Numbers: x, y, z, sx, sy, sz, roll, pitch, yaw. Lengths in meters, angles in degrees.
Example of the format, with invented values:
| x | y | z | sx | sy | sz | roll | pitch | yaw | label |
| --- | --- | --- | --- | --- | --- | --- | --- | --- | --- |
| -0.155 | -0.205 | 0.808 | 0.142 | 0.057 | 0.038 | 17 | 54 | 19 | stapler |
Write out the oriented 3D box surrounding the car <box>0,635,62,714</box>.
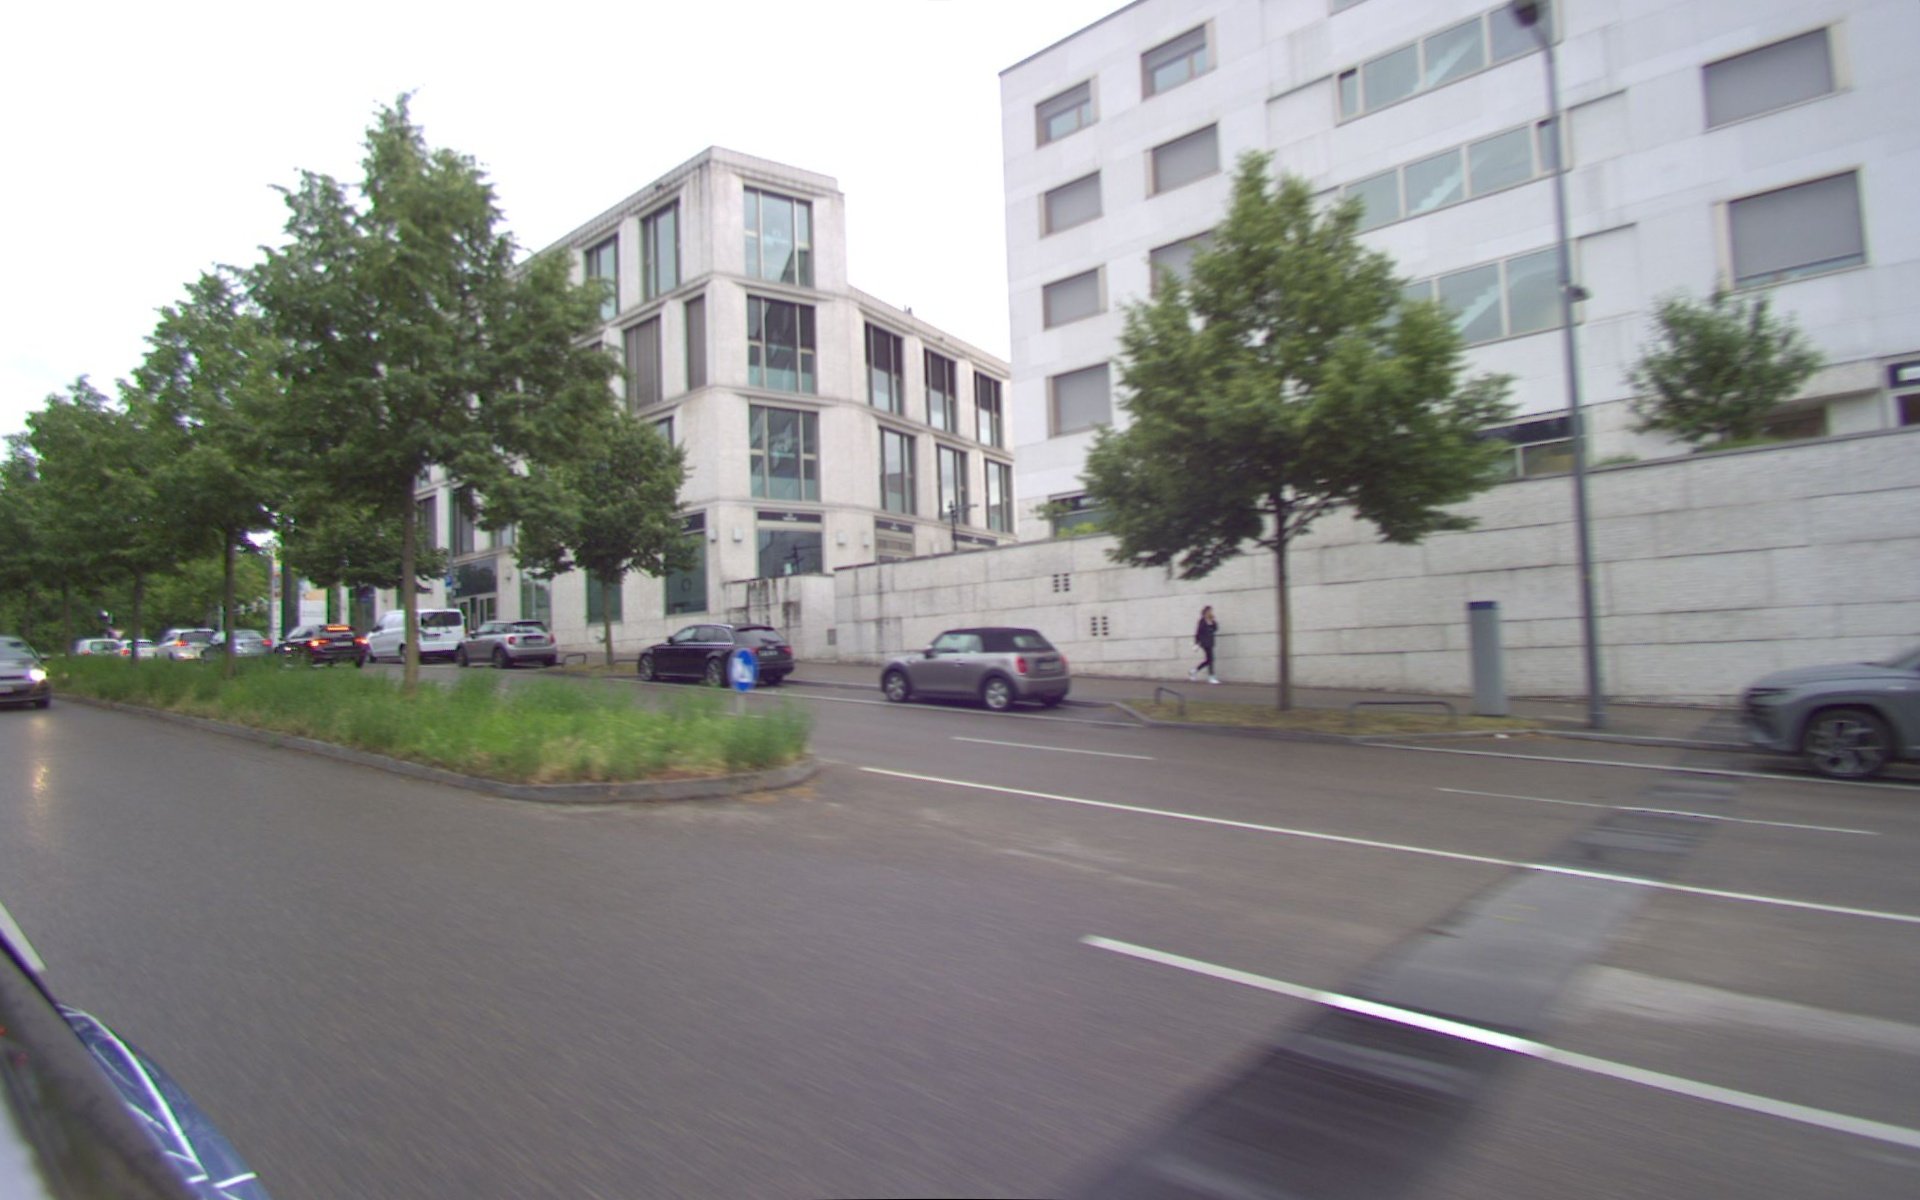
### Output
| x | y | z | sx | sy | sz | roll | pitch | yaw | label |
| --- | --- | --- | --- | --- | --- | --- | --- | --- | --- |
| -19.207 | 1.425 | 19.880 | 3.998 | 1.450 | 1.880 | -2 | -3 | 42 | car |

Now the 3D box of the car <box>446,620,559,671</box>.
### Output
| x | y | z | sx | sy | sz | roll | pitch | yaw | label |
| --- | --- | --- | --- | --- | --- | --- | --- | --- | --- |
| -13.975 | 1.366 | 30.818 | 3.695 | 1.395 | 1.678 | -2 | -1 | 40 | car |

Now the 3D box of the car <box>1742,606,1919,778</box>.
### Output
| x | y | z | sx | sy | sz | roll | pitch | yaw | label |
| --- | --- | --- | --- | --- | --- | --- | --- | --- | --- |
| 10.303 | 0.873 | 9.691 | 4.360 | 1.632 | 1.685 | -1 | -1 | 41 | car |

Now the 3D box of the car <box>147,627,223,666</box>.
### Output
| x | y | z | sx | sy | sz | roll | pitch | yaw | label |
| --- | --- | --- | --- | --- | --- | --- | --- | --- | --- |
| -34.627 | 2.077 | 45.182 | 4.671 | 1.613 | 1.810 | -3 | -2 | 41 | car |

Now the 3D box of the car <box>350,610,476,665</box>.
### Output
| x | y | z | sx | sy | sz | roll | pitch | yaw | label |
| --- | --- | --- | --- | --- | --- | --- | --- | --- | --- |
| -19.410 | 1.342 | 35.792 | 5.255 | 1.829 | 2.101 | -3 | -2 | 39 | car |

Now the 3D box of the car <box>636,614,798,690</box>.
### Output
| x | y | z | sx | sy | sz | roll | pitch | yaw | label |
| --- | --- | --- | --- | --- | --- | --- | --- | --- | --- |
| -5.721 | 1.135 | 23.606 | 4.015 | 1.593 | 1.677 | -1 | 0 | 41 | car |

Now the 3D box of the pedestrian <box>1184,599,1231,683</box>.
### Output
| x | y | z | sx | sy | sz | roll | pitch | yaw | label |
| --- | --- | --- | --- | --- | --- | --- | --- | --- | --- |
| 5.358 | 0.878 | 21.901 | 0.691 | 1.788 | 0.711 | -3 | -2 | 40 | pedestrian |

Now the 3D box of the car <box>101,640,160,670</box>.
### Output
| x | y | z | sx | sy | sz | roll | pitch | yaw | label |
| --- | --- | --- | --- | --- | --- | --- | --- | --- | --- |
| -42.990 | 2.842 | 52.435 | 4.058 | 1.479 | 1.725 | -3 | -4 | 41 | car |

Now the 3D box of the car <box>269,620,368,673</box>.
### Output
| x | y | z | sx | sy | sz | roll | pitch | yaw | label |
| --- | --- | --- | --- | --- | --- | --- | --- | --- | --- |
| -21.392 | 1.523 | 33.706 | 4.014 | 1.593 | 1.678 | -2 | -1 | 41 | car |

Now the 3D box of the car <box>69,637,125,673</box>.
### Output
| x | y | z | sx | sy | sz | roll | pitch | yaw | label |
| --- | --- | --- | --- | --- | --- | --- | --- | --- | --- |
| -50.907 | 3.271 | 59.678 | 4.770 | 1.816 | 1.824 | -6 | -3 | 41 | car |

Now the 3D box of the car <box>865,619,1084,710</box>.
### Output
| x | y | z | sx | sy | sz | roll | pitch | yaw | label |
| --- | --- | --- | --- | --- | --- | --- | --- | --- | --- |
| 0.196 | 1.121 | 18.582 | 3.858 | 1.455 | 1.677 | -2 | -1 | 42 | car |

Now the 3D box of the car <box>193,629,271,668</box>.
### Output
| x | y | z | sx | sy | sz | roll | pitch | yaw | label |
| --- | --- | --- | --- | --- | --- | --- | --- | --- | --- |
| -29.316 | 1.975 | 40.716 | 3.993 | 1.422 | 1.624 | -5 | -4 | 40 | car |
